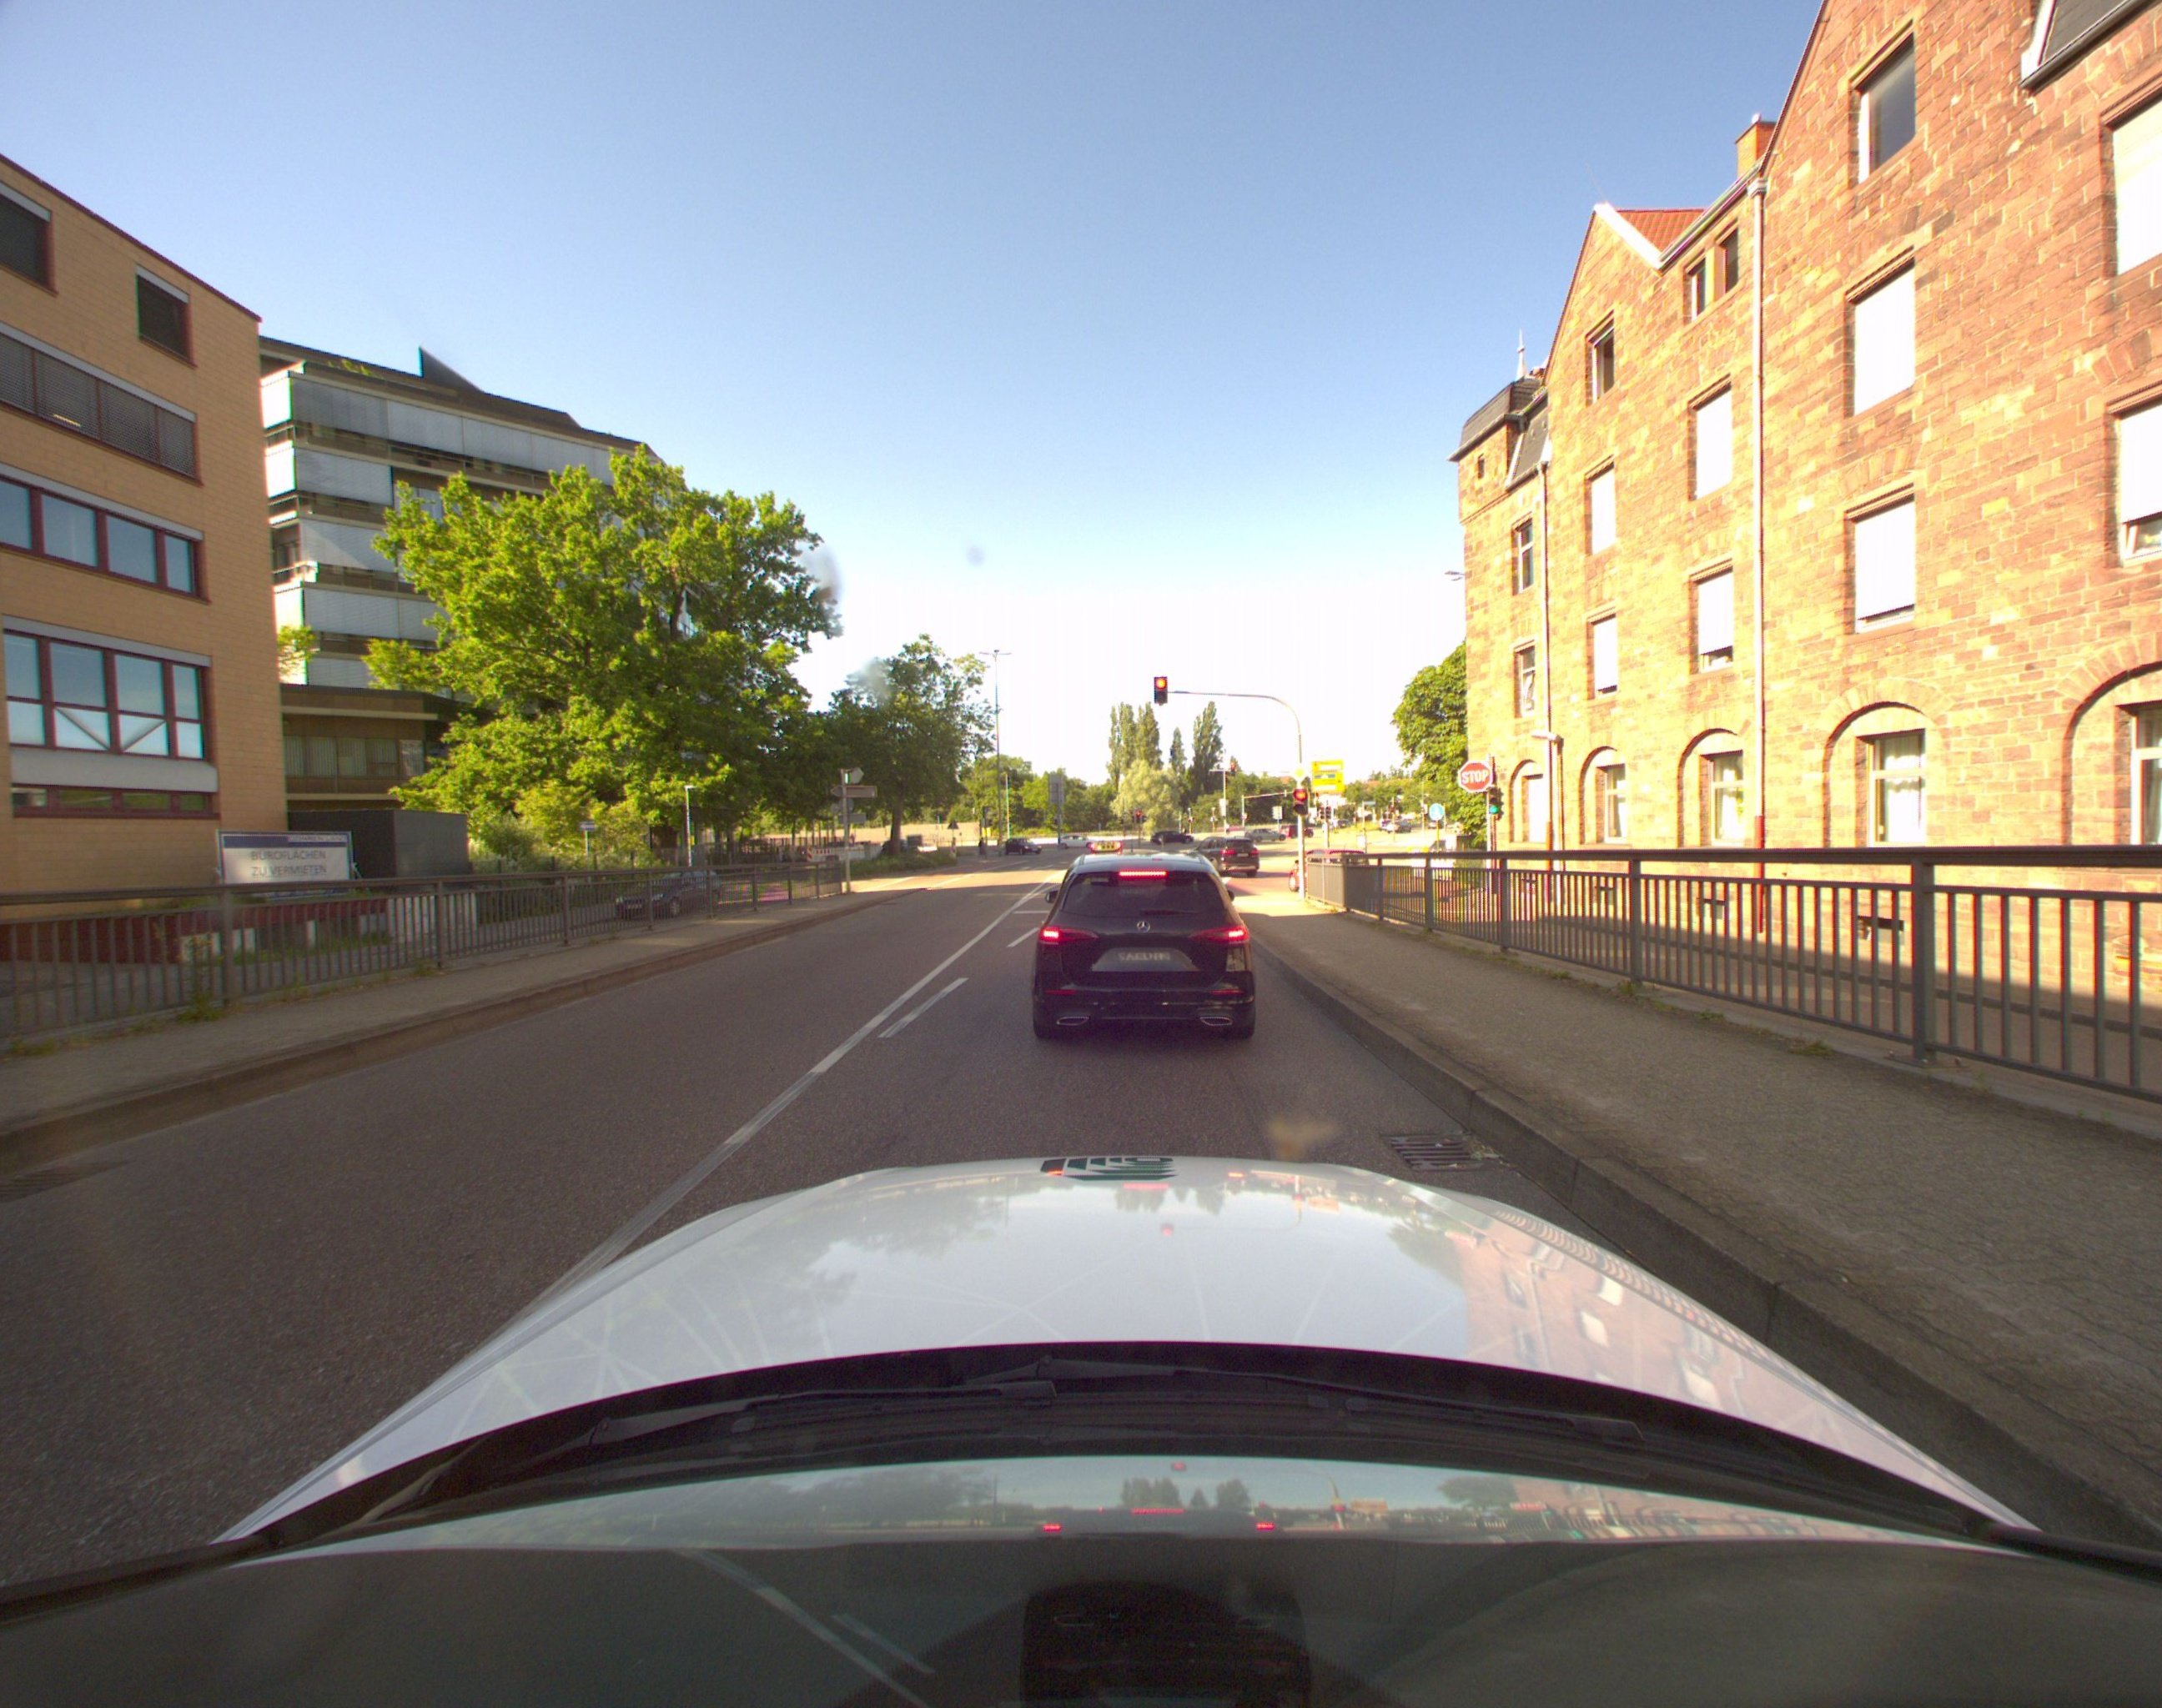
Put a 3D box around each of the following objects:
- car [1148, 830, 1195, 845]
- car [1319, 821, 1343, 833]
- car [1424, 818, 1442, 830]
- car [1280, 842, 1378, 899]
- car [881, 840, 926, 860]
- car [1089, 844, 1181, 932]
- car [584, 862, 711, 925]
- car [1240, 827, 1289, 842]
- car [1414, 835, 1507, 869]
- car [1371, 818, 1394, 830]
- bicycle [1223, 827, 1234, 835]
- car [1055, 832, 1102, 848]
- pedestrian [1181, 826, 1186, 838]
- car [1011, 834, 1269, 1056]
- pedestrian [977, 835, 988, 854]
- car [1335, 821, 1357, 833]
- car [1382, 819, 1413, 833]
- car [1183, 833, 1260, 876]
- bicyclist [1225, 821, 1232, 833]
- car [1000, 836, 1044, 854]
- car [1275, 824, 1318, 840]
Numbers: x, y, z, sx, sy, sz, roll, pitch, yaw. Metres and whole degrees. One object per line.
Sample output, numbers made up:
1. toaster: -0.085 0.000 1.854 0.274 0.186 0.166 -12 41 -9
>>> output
1. car: 9.554 -1.763 85.740 4.575 1.294 1.882 -3 2 -7
2. car: 35.075 -3.760 114.108 1.860 1.578 4.026 -1 2 38
3. car: 48.902 -4.157 113.282 1.977 1.441 4.317 -2 2 20
4. car: 7.752 0.450 25.722 1.719 1.521 3.479 -2 3 -6
5. car: -17.334 -0.418 79.551 3.950 1.623 1.821 3 3 27
6. car: 1.132 0.607 16.832 1.632 1.529 3.478 -2 1 4
7. car: -13.956 1.204 26.506 1.844 1.692 4.002 -2 2 2
8. car: 18.679 -1.999 82.869 4.598 1.294 1.986 -4 2 -22
9. car: 20.137 -0.123 43.271 4.286 1.603 1.721 -1 3 -12
10. car: 40.079 -3.957 108.270 1.764 1.357 4.105 -1 3 36
11. bicycle: 20.204 -3.185 111.337 0.520 1.050 2.003 -2 1 39
12. car: -0.236 -1.431 80.929 4.274 1.365 2.006 -2 2 9
13. pedestrian: 13.305 -2.873 105.794 0.446 1.585 0.504 -2 1 42
14. car: 0.496 0.649 7.954 1.871 1.613 4.002 0 0 2
15. pedestrian: -8.301 -0.787 68.396 0.700 1.525 0.746 -1 1 12
16. car: 38.774 -4.008 119.180 1.860 1.578 4.026 -1 2 38
17. car: 38.482 -3.373 98.873 1.974 1.441 4.854 -1 3 41
18. car: 6.141 -0.004 36.080 1.724 1.812 4.276 0 0 -15
19. bicyclist: 20.190 -3.687 111.317 0.520 1.551 0.812 -2 1 39
20. car: -4.943 -0.724 67.783 1.755 1.407 4.156 -3 2 -34
21. car: 24.239 -2.473 91.540 4.568 1.455 1.980 -4 3 -32
